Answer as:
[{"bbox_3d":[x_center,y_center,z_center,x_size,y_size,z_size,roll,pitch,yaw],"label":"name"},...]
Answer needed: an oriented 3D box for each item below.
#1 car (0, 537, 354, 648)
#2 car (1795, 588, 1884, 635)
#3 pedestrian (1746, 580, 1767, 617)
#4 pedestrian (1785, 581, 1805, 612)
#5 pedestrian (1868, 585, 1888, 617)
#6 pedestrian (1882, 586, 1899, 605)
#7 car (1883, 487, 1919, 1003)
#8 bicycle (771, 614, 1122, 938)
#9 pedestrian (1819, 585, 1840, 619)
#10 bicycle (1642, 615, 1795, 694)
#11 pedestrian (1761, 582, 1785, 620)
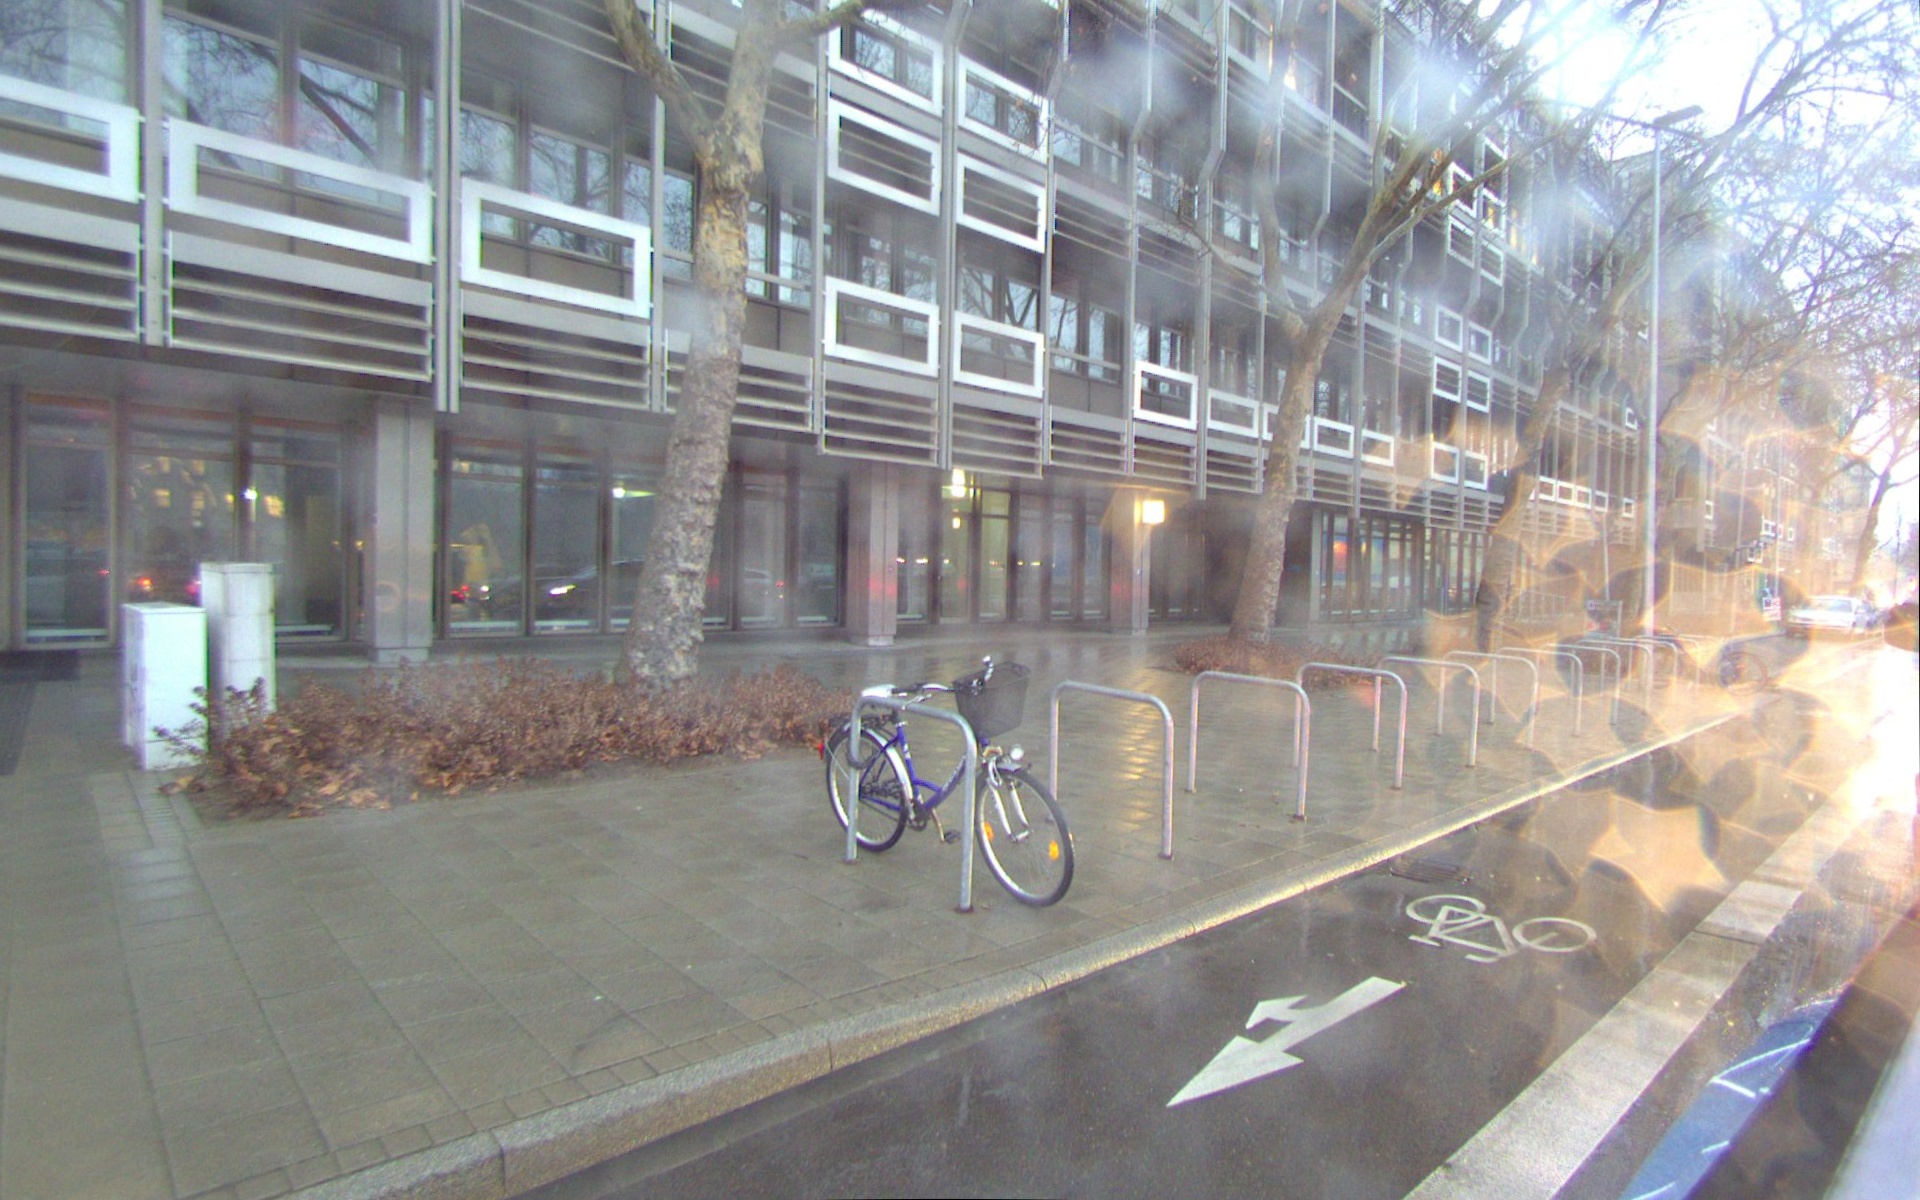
[{"bbox_3d":[-10.802,-0.144,13.974,3.929,1.326,1.998,0,3,-40],"label":"car"},{"bbox_3d":[29.354,0.340,33.761,3.930,1.482,1.711,-1,1,-41],"label":"car"},{"bbox_3d":[43.368,-0.084,55.106,0.912,2.004,0.699,0,2,-41],"label":"pedestrian"},{"bbox_3d":[48.632,-0.208,58.957,0.765,1.771,0.913,2,2,45],"label":"pedestrian"},{"bbox_3d":[51.588,0.062,56.885,0.765,1.771,0.913,2,2,45],"label":"pedestrian"},{"bbox_3d":[66.366,-0.316,72.171,0.738,1.354,0.781,0,0,-41],"label":"pedestrian"},{"bbox_3d":[5.479,0.508,4.330,3.931,1.864,1.876,-1,0,-42],"label":"car"},{"bbox_3d":[-0.150,0.713,4.873,0.629,1.145,1.810,2,2,-41],"label":"bicycle"},{"bbox_3d":[47.196,0.103,54.951,0.765,1.771,0.913,2,2,45],"label":"pedestrian"},{"bbox_3d":[11.660,0.798,15.599,0.864,1.004,1.704,0,4,-41],"label":"bicycle"},{"bbox_3d":[37.904,0.034,47.172,0.765,1.771,0.913,2,2,45],"label":"pedestrian"}]
